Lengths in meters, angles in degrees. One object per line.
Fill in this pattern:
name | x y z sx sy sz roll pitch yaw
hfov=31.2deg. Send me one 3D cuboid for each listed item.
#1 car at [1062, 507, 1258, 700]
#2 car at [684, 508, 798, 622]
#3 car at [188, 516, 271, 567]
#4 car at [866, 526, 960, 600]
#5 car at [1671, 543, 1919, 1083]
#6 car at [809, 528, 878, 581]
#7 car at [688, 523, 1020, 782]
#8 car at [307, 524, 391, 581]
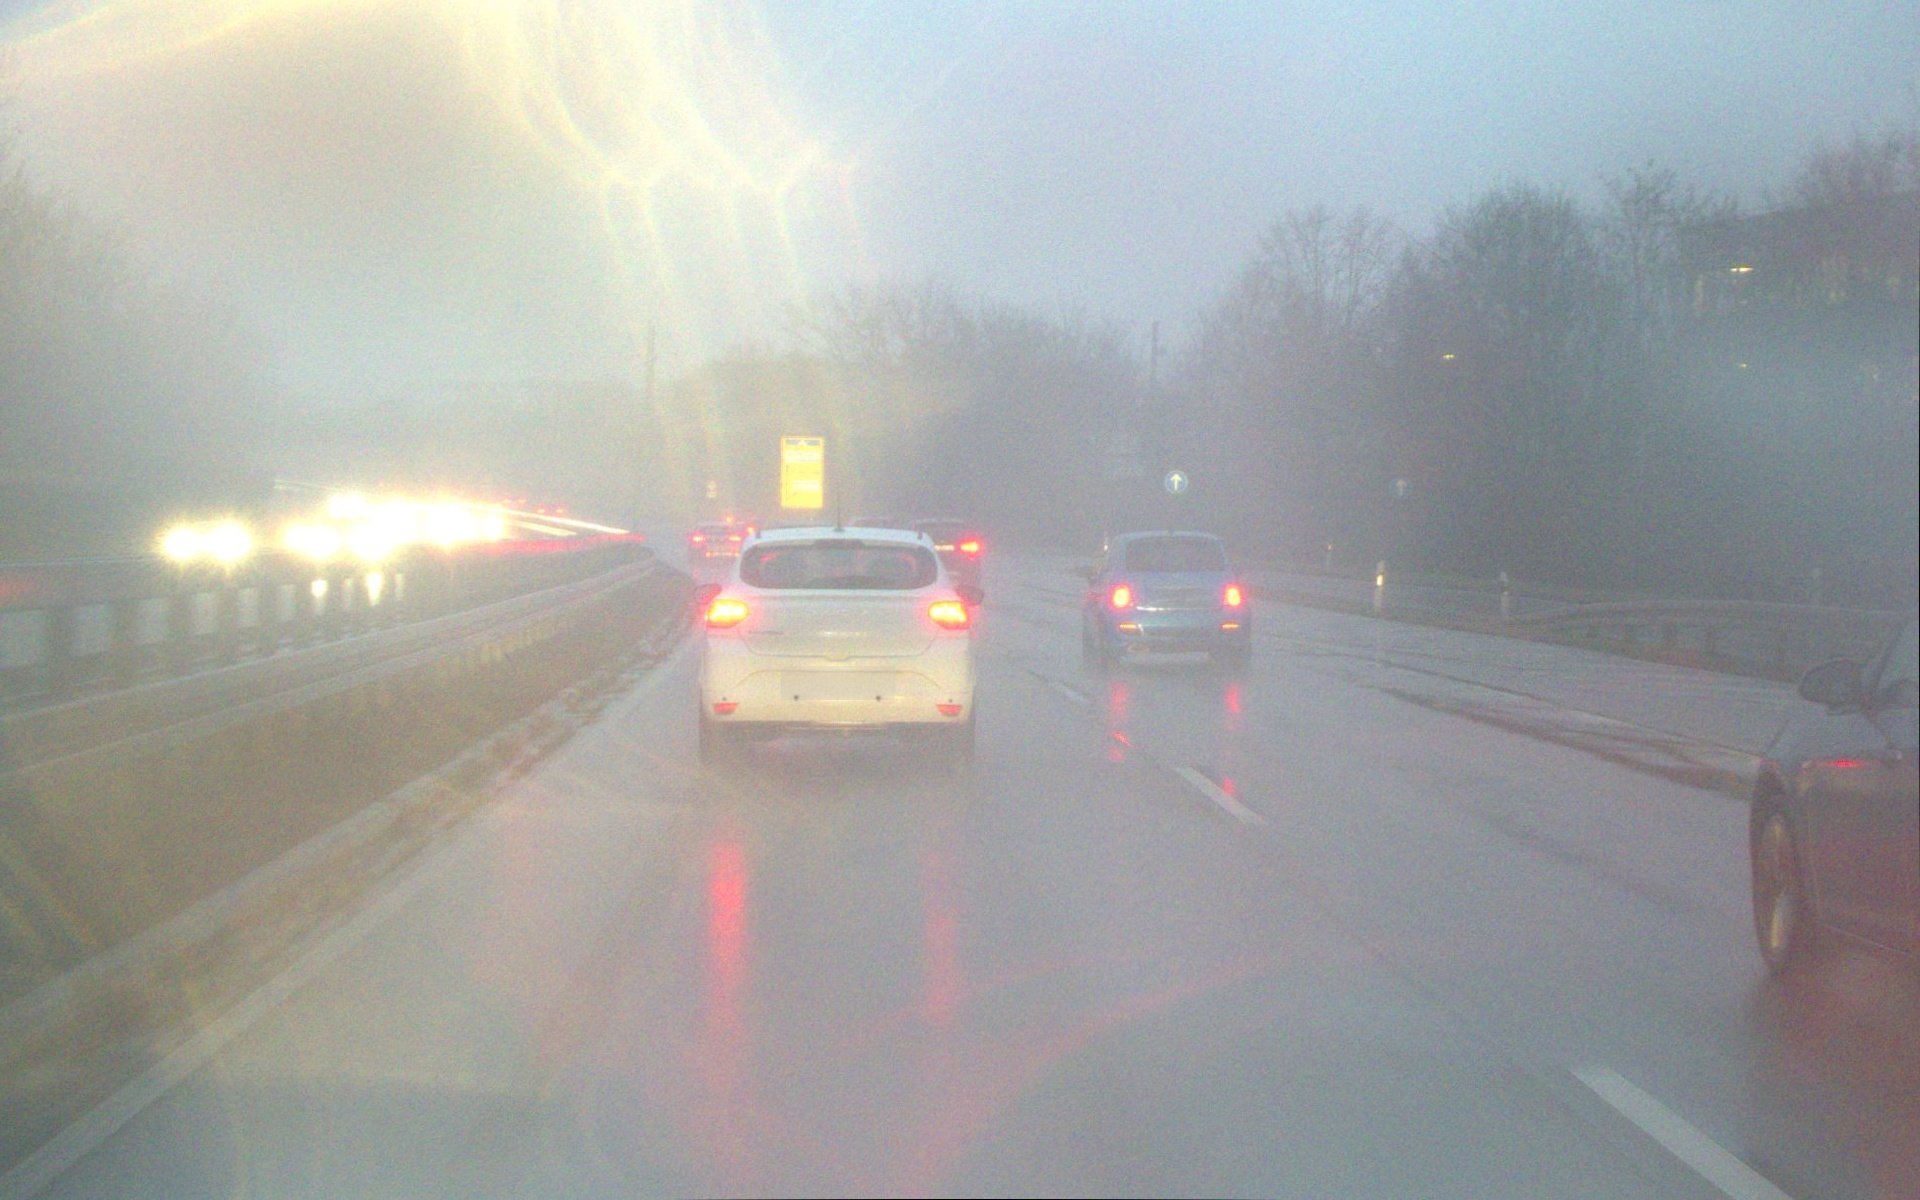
car | 2.180 0.003 38.367 1.932 2.012 3.774 1 1 0
car | -4.072 -0.663 63.492 1.993 2.007 4.001 1 1 -5
car | -23.006 -1.835 108.389 1.837 1.550 4.356 1 1 -3
car | -1.145 -0.882 81.344 1.932 1.541 3.774 -5 1 -3
car | 3.595 0.591 10.589 1.849 1.496 4.263 1 1 -1
car | -3.547 -1.383 104.168 1.932 1.541 3.774 1 1 -4
car | -0.731 0.286 23.193 2.024 1.569 4.001 1 1 -2
car | -17.314 -1.367 97.632 1.837 1.550 4.356 1 1 -3
